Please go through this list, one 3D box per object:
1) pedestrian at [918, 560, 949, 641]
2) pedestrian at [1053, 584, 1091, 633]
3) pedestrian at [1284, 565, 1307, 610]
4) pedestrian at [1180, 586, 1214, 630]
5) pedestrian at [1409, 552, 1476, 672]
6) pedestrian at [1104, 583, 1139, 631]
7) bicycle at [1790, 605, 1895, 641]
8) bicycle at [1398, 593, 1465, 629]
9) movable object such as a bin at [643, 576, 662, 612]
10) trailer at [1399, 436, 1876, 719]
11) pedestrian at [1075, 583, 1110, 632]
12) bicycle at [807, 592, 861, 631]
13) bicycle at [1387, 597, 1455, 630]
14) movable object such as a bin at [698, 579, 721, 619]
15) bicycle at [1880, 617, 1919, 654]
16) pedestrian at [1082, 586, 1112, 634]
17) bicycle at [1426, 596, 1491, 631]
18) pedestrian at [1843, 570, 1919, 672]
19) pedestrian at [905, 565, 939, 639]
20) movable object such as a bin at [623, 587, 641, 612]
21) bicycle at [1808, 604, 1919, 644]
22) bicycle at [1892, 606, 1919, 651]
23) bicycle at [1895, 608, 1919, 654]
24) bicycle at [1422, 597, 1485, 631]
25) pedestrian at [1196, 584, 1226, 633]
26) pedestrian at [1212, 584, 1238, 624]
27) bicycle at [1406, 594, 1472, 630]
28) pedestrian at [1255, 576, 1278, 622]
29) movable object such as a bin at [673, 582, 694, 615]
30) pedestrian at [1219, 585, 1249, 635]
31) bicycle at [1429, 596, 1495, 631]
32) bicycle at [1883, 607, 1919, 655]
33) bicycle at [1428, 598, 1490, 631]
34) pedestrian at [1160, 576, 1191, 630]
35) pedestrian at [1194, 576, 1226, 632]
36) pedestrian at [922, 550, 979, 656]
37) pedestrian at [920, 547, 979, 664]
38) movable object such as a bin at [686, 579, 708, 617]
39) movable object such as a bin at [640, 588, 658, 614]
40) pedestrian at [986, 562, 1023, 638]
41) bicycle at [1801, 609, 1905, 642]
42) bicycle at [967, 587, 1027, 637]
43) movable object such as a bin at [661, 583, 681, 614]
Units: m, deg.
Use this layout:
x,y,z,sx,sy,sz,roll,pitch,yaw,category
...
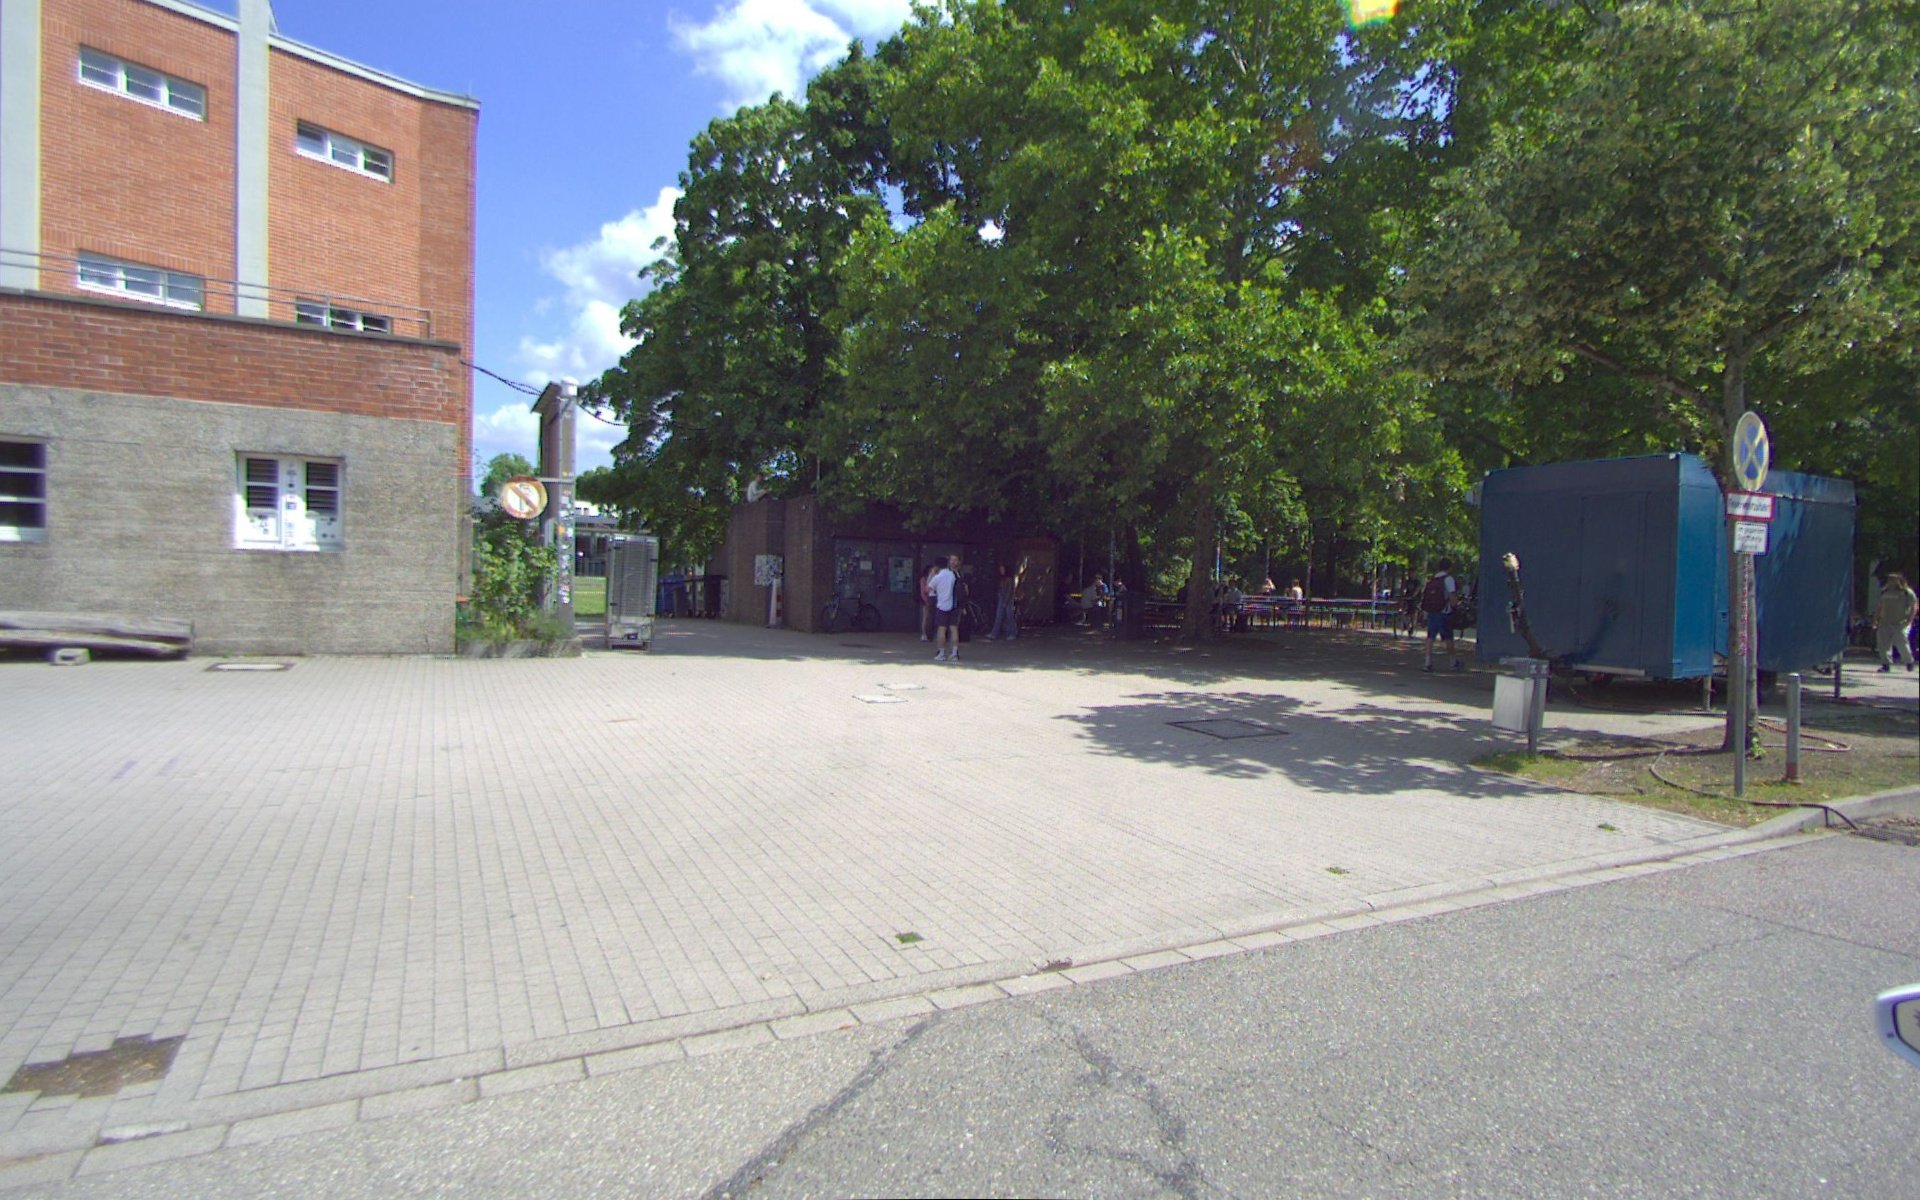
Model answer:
x,y,z,sx,sy,sz,roll,pitch,yaw,category
-0.576,-0.008,21.981,0.520,1.734,0.448,3,3,18,pedestrian
3.113,0.241,27.940,0.768,1.341,0.685,1,1,-27,pedestrian
10.975,-0.421,32.835,0.456,1.442,0.501,0,3,-38,pedestrian
6.931,0.228,29.352,0.761,1.267,0.564,0,3,-40,pedestrian
7.826,0.168,16.286,0.839,1.860,0.876,3,4,31,pedestrian
4.423,0.185,27.508,0.684,1.288,0.558,1,2,-28,pedestrian
33.414,0.859,38.091,2.826,1.194,0.882,3,2,20,bicycle
15.843,0.364,33.794,0.579,1.134,1.993,1,1,-36,bicycle
-10.692,-0.212,34.887,0.526,1.216,0.491,1,2,-30,movable object such as a bin
9.211,-0.240,13.569,6.189,3.067,2.685,1,2,-29,trailer
3.573,0.203,27.058,0.684,1.288,0.558,1,2,-28,pedestrian
-2.964,0.270,23.744,1.216,0.895,0.303,1,1,-27,bicycle
15.164,0.435,33.086,0.579,1.021,1.993,1,1,-36,bicycle
-7.497,-0.034,30.059,0.515,1.158,0.589,1,2,-30,movable object such as a bin
28.269,1.074,29.201,2.117,1.022,0.676,3,2,33,bicycle
3.902,0.292,28.567,0.552,1.341,0.642,1,1,-27,pedestrian
17.555,0.467,35.427,0.579,1.134,1.993,1,1,-36,bicycle
18.884,0.421,20.452,0.878,1.981,0.917,2,3,-18,pedestrian
-0.850,0.033,22.559,0.594,1.615,0.412,3,3,20,pedestrian
-12.318,-0.017,37.699,0.526,0.930,0.491,1,2,-30,movable object such as a bin
32.190,0.825,35.755,2.851,1.237,0.882,3,2,20,bicycle
25.627,0.773,26.270,0.456,1.147,1.755,0,3,-45,bicycle
27.443,0.927,27.915,0.804,1.251,2.032,0,4,-45,bicycle
17.844,0.491,36.337,0.579,1.134,1.993,1,1,-36,bicycle
6.664,0.209,26.667,0.584,1.250,0.741,3,4,28,pedestrian
8.311,0.129,31.523,0.724,1.210,0.388,0,3,-38,pedestrian
16.394,0.399,34.431,0.579,1.134,1.993,1,1,-36,bicycle
10.282,-0.035,33.690,0.470,1.543,0.501,0,3,-39,pedestrian
-8.901,-0.048,32.305,0.515,1.025,0.589,1,2,-30,movable object such as a bin
7.180,0.239,26.334,0.584,1.250,0.741,3,4,28,pedestrian
17.246,0.446,34.551,0.579,1.134,1.993,1,1,-36,bicycle
26.649,0.878,27.437,0.804,1.251,2.032,0,3,-45,bicycle
18.360,0.526,36.987,0.579,1.134,1.993,1,1,-36,bicycle
5.677,0.066,26.485,0.584,1.388,0.703,3,4,28,pedestrian
6.410,0.083,25.760,0.584,1.388,0.741,3,4,28,pedestrian
-0.163,0.050,17.208,0.863,1.743,0.489,3,0,0,pedestrian
-0.171,0.095,16.439,0.863,1.844,0.449,3,0,0,pedestrian
-8.236,-0.078,31.450,0.515,1.158,0.589,1,2,-30,movable object such as a bin
-11.221,0.040,36.222,0.526,0.930,0.491,1,2,-30,movable object such as a bin
1.017,-0.009,22.945,0.665,1.673,0.503,3,3,23,pedestrian
32.745,0.925,36.874,2.680,1.016,0.882,3,2,20,bicycle
0.881,0.280,23.893,1.323,1.091,0.417,3,0,19,bicycle
-9.634,-0.056,33.487,0.526,1.016,0.491,1,2,-30,movable object such as a bin
